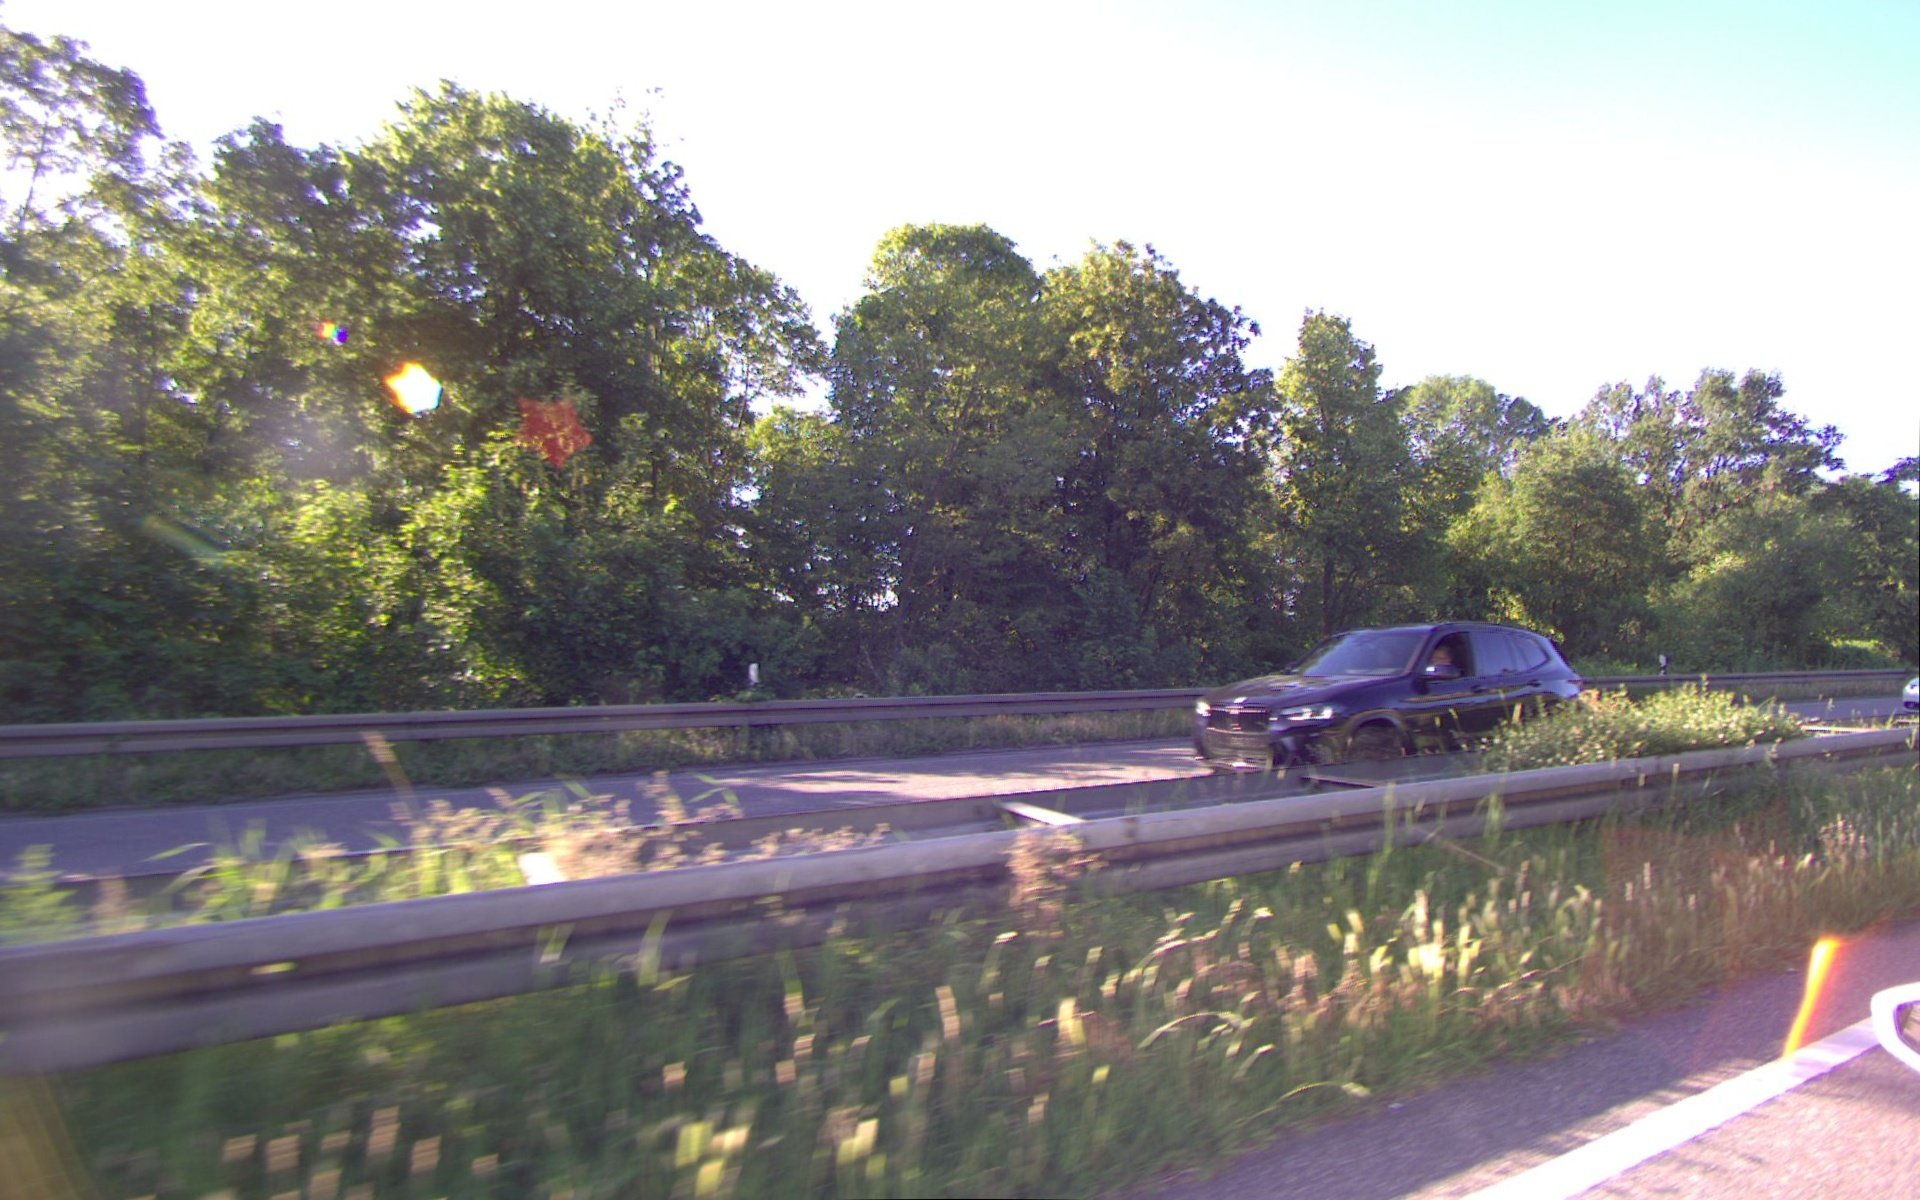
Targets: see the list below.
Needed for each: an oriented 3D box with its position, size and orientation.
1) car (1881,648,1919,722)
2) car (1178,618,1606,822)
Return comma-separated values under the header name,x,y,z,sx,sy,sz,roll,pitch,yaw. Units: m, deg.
name,x,y,z,sx,sy,sz,roll,pitch,yaw
car,20.080,1.641,19.685,4.409,1.374,1.765,1,-2,-30
car,4.567,1.091,10.446,4.493,1.732,1.777,1,-2,-30
